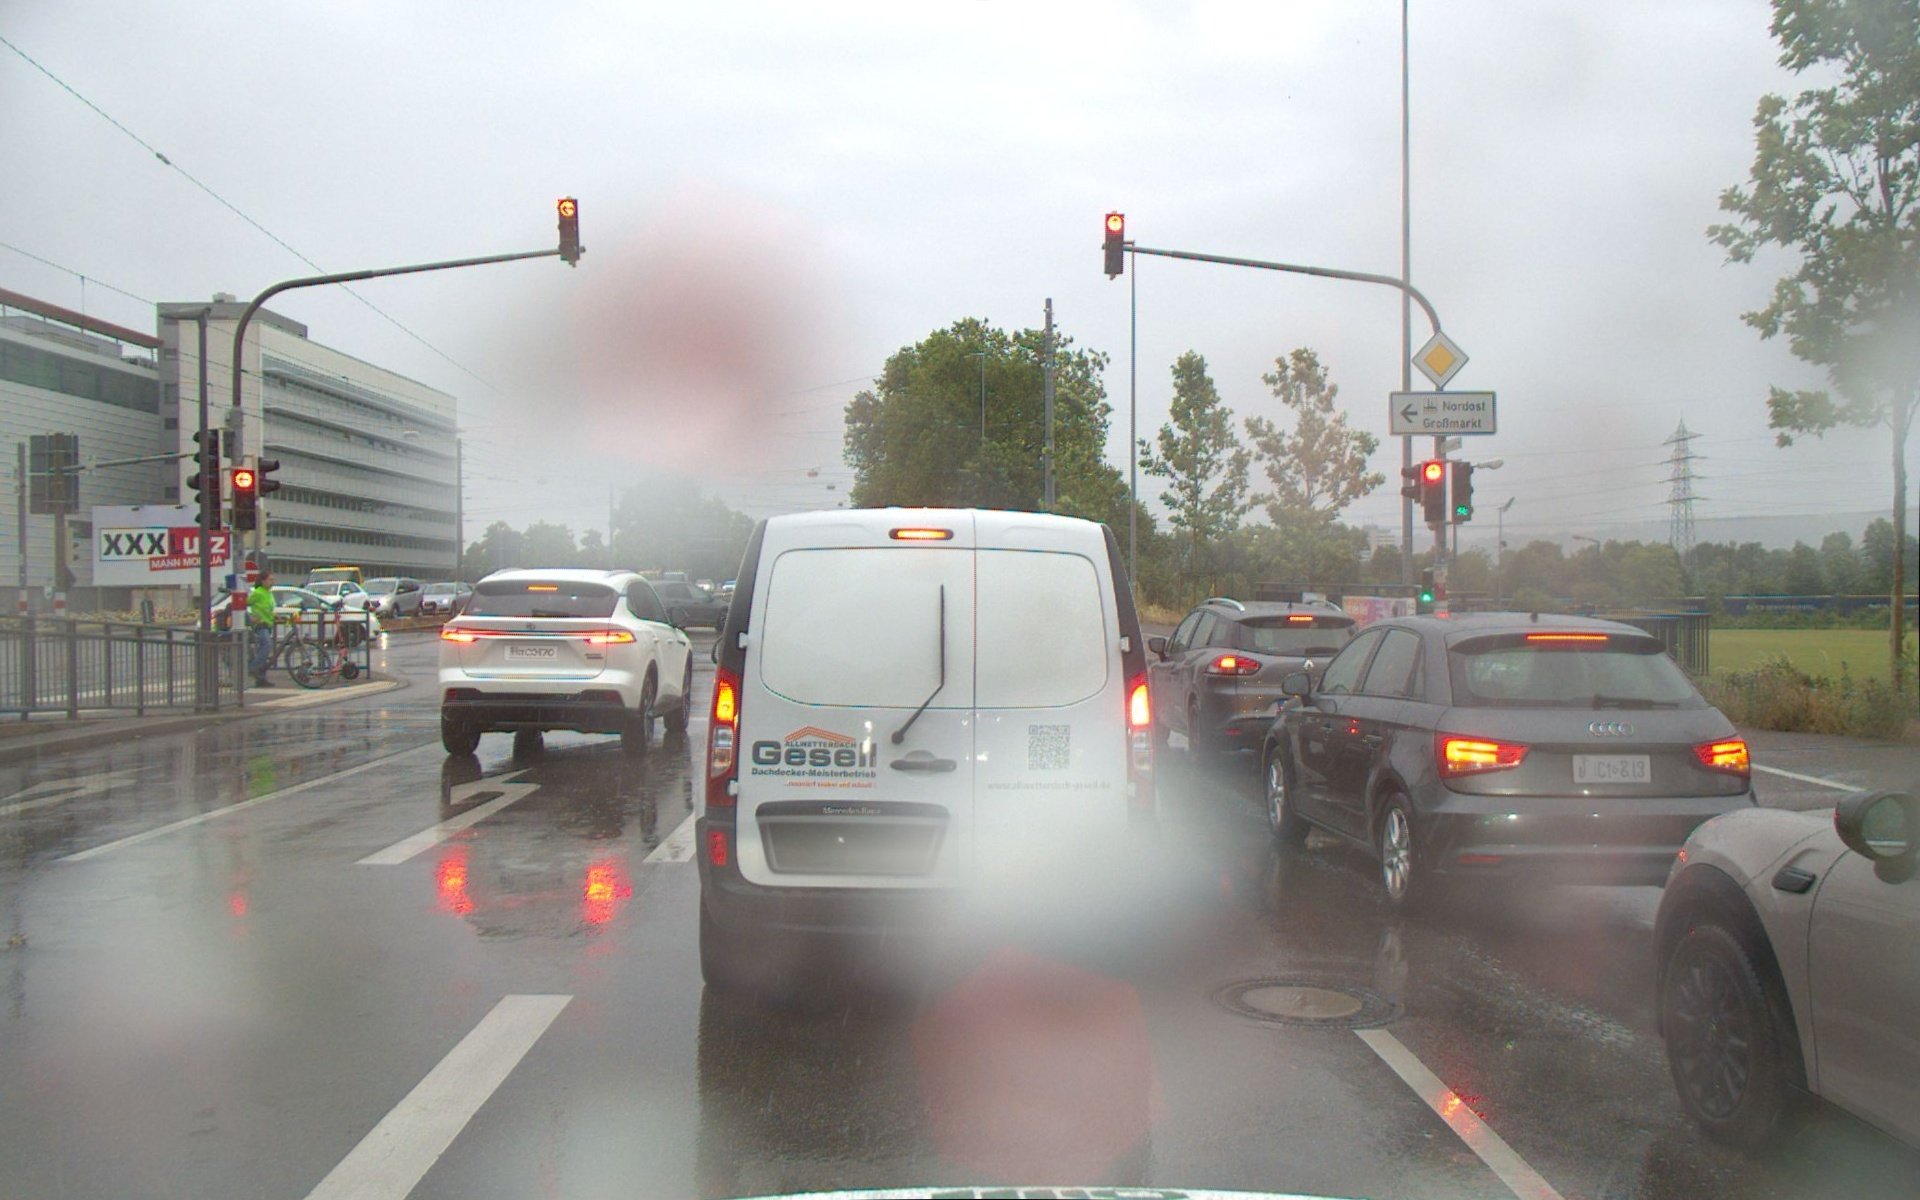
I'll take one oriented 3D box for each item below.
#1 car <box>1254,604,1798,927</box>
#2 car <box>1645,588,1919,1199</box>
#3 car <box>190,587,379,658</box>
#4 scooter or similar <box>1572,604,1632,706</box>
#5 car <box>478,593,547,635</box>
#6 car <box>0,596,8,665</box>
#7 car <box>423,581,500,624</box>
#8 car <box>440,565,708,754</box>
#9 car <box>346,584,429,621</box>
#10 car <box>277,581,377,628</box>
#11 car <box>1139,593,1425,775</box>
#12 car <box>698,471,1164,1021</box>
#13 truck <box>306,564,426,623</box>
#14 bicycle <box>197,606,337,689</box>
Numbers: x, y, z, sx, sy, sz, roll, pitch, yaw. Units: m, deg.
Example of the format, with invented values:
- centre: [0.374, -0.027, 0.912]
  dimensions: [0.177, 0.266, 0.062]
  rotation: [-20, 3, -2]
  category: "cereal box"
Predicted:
- centre: [2.773, 0.721, 8.947]
  dimensions: [1.596, 1.368, 3.622]
  rotation: [1, 0, -2]
  category: "car"
- centre: [2.963, 0.756, 3.190]
  dimensions: [1.679, 1.534, 3.622]
  rotation: [1, 0, -2]
  category: "car"
- centre: [-15.408, 0.510, 37.811]
  dimensions: [3.681, 1.530, 1.596]
  rotation: [1, 0, -41]
  category: "car"
- centre: [7.596, 0.634, 19.596]
  dimensions: [0.240, 1.178, 1.186]
  rotation: [1, 0, 1]
  category: "scooter or similar"
- centre: [-20.811, 0.647, 77.094]
  dimensions: [1.889, 1.859, 4.002]
  rotation: [1, 0, 4]
  category: "car"
- centre: [-21.404, 0.604, 33.618]
  dimensions: [3.295, 1.447, 1.460]
  rotation: [1, 0, -19]
  category: "car"
- centre: [-21.068, 0.110, 70.022]
  dimensions: [1.853, 1.729, 4.001]
  rotation: [1, 0, 3]
  category: "car"
- centre: [-3.564, 0.475, 16.032]
  dimensions: [1.694, 1.562, 4.296]
  rotation: [1, 1, -2]
  category: "car"
- centre: [-21.692, 0.109, 62.793]
  dimensions: [1.554, 1.359, 3.832]
  rotation: [1, -1, 4]
  category: "car"
- centre: [-21.676, 0.152, 56.783]
  dimensions: [1.662, 1.518, 3.878]
  rotation: [1, 0, 5]
  category: "car"
- centre: [2.860, 0.686, 15.535]
  dimensions: [1.822, 1.453, 3.806]
  rotation: [1, 1, -2]
  category: "car"
- centre: [-0.120, 0.491, 7.501]
  dimensions: [1.534, 1.819, 3.999]
  rotation: [0, 0, -1]
  category: "car"
- centre: [-25.031, -0.235, 70.041]
  dimensions: [2.303, 2.319, 7.632]
  rotation: [1, 0, 0]
  category: "truck"
- centre: [-9.743, 0.664, 23.290]
  dimensions: [1.716, 1.052, 0.414]
  rotation: [4, -1, -3]
  category: "bicycle"
